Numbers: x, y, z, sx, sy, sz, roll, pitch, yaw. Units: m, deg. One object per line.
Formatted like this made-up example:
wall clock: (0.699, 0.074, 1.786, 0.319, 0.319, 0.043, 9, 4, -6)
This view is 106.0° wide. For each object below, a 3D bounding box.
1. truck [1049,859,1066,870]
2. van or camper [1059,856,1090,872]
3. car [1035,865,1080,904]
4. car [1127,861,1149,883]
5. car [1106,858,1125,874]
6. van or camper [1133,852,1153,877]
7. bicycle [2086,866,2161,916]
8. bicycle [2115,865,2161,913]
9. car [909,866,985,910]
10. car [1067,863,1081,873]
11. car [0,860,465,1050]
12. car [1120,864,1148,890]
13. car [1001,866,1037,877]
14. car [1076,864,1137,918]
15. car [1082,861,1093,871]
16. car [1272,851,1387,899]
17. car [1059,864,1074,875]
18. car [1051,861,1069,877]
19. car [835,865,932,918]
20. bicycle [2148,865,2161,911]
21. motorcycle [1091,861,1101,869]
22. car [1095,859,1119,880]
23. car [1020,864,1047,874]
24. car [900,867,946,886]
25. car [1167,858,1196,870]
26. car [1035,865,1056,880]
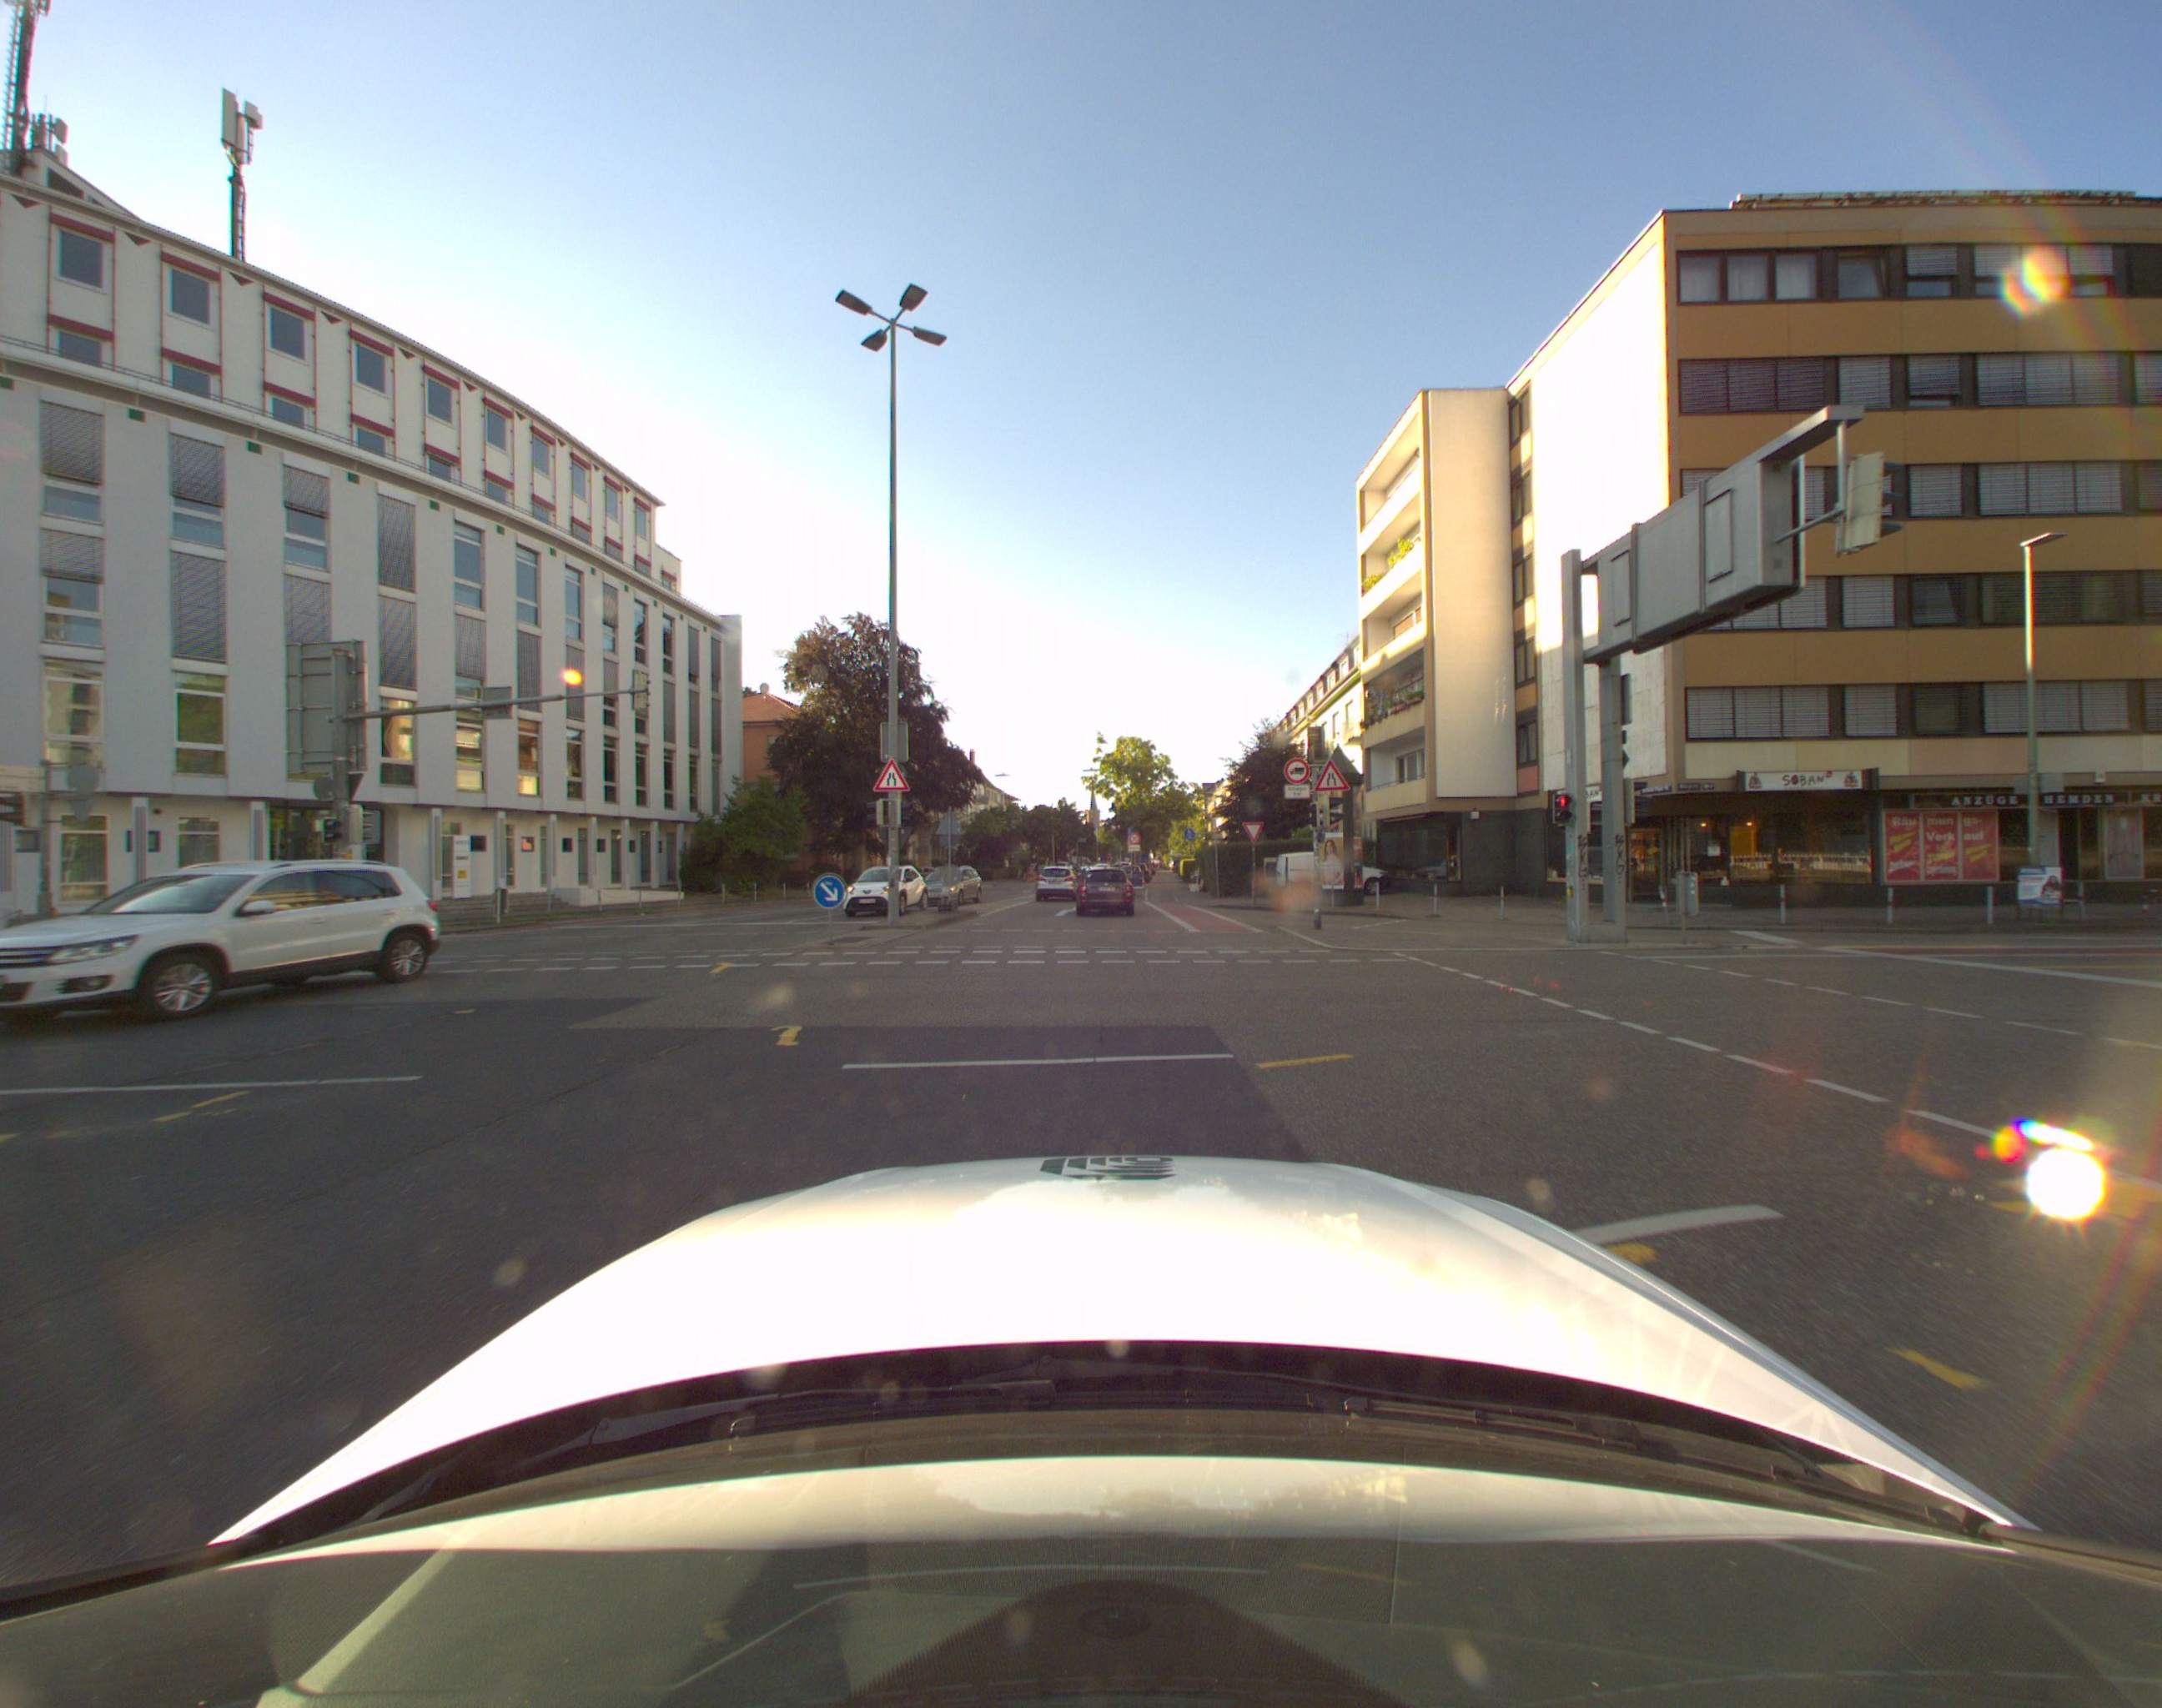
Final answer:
truck: (-4.428, 1.919, 151.868, 2.900, 2.093, 1.548, -1, 0, 4)
van or camper: (-1.580, 2.441, 201.602, 7.608, 3.874, 2.002, -1, 0, 3)
car: (-0.969, 1.280, 35.159, 1.723, 1.494, 3.952, -1, 0, 1)
car: (4.673, 1.420, 66.475, 1.724, 1.651, 4.297, -1, 0, 5)
car: (3.668, 1.234, 86.084, 1.724, 1.651, 3.546, -1, 0, 5)
van or camper: (7.171, 1.227, 93.685, 2.058, 2.676, 5.998, -1, -1, 5)
bicycle: (24.731, 0.840, 18.851, 0.524, 1.096, 2.009, -1, 0, 3)
bicycle: (25.425, 0.828, 18.833, 0.524, 1.096, 2.009, -1, 0, 3)
car: (-5.105, 1.256, 31.592, 1.819, 1.514, 4.610, -1, 0, 5)
car: (-0.994, 2.141, 124.115, 1.709, 1.497, 4.254, -1, 0, 5)
car: (-10.003, 0.953, 9.712, 1.821, 1.706, 4.443, -1, 0, 2)
car: (3.484, 1.460, 52.814, 1.724, 1.551, 3.651, -1, 0, 5)
car: (-8.261, 2.335, 108.530, 4.708, 1.362, 1.994, -1, 0, -8)
car: (0.767, 1.080, 25.218, 1.723, 1.494, 3.952, -1, 0, 1)
car: (1.269, 2.165, 149.960, 1.742, 1.740, 3.596, -1, 0, 5)
car: (9.942, 0.810, 32.795, 4.072, 1.814, 1.862, -1, 0, 2)
car: (-1.978, 2.195, 113.423, 1.709, 1.421, 3.792, -1, 0, 5)
car: (-2.714, 1.956, 106.705, 1.761, 1.919, 4.466, -1, 0, 5)
car: (-6.099, 1.123, 25.630, 1.819, 1.460, 3.907, -1, 0, 5)
bicycle: (26.301, 0.814, 18.823, 0.525, 1.096, 2.004, -1, 0, -4)
motorcycle: (3.029, 2.221, 164.879, 0.770, 1.512, 2.007, -1, 0, -38)
car: (2.194, 1.282, 67.844, 1.724, 1.651, 3.546, -1, 0, 5)
car: (-7.151, 2.245, 122.906, 3.972, 1.479, 2.000, 0, 0, 1)
car: (-13.495, 1.917, 69.569, 3.485, 1.486, 1.816, -1, 0, 1)
car: (17.170, 1.733, 138.701, 4.552, 1.893, 1.900, -1, 0, -23)
car: (-3.913, 2.019, 90.790, 1.742, 1.503, 4.202, -1, 0, 5)
